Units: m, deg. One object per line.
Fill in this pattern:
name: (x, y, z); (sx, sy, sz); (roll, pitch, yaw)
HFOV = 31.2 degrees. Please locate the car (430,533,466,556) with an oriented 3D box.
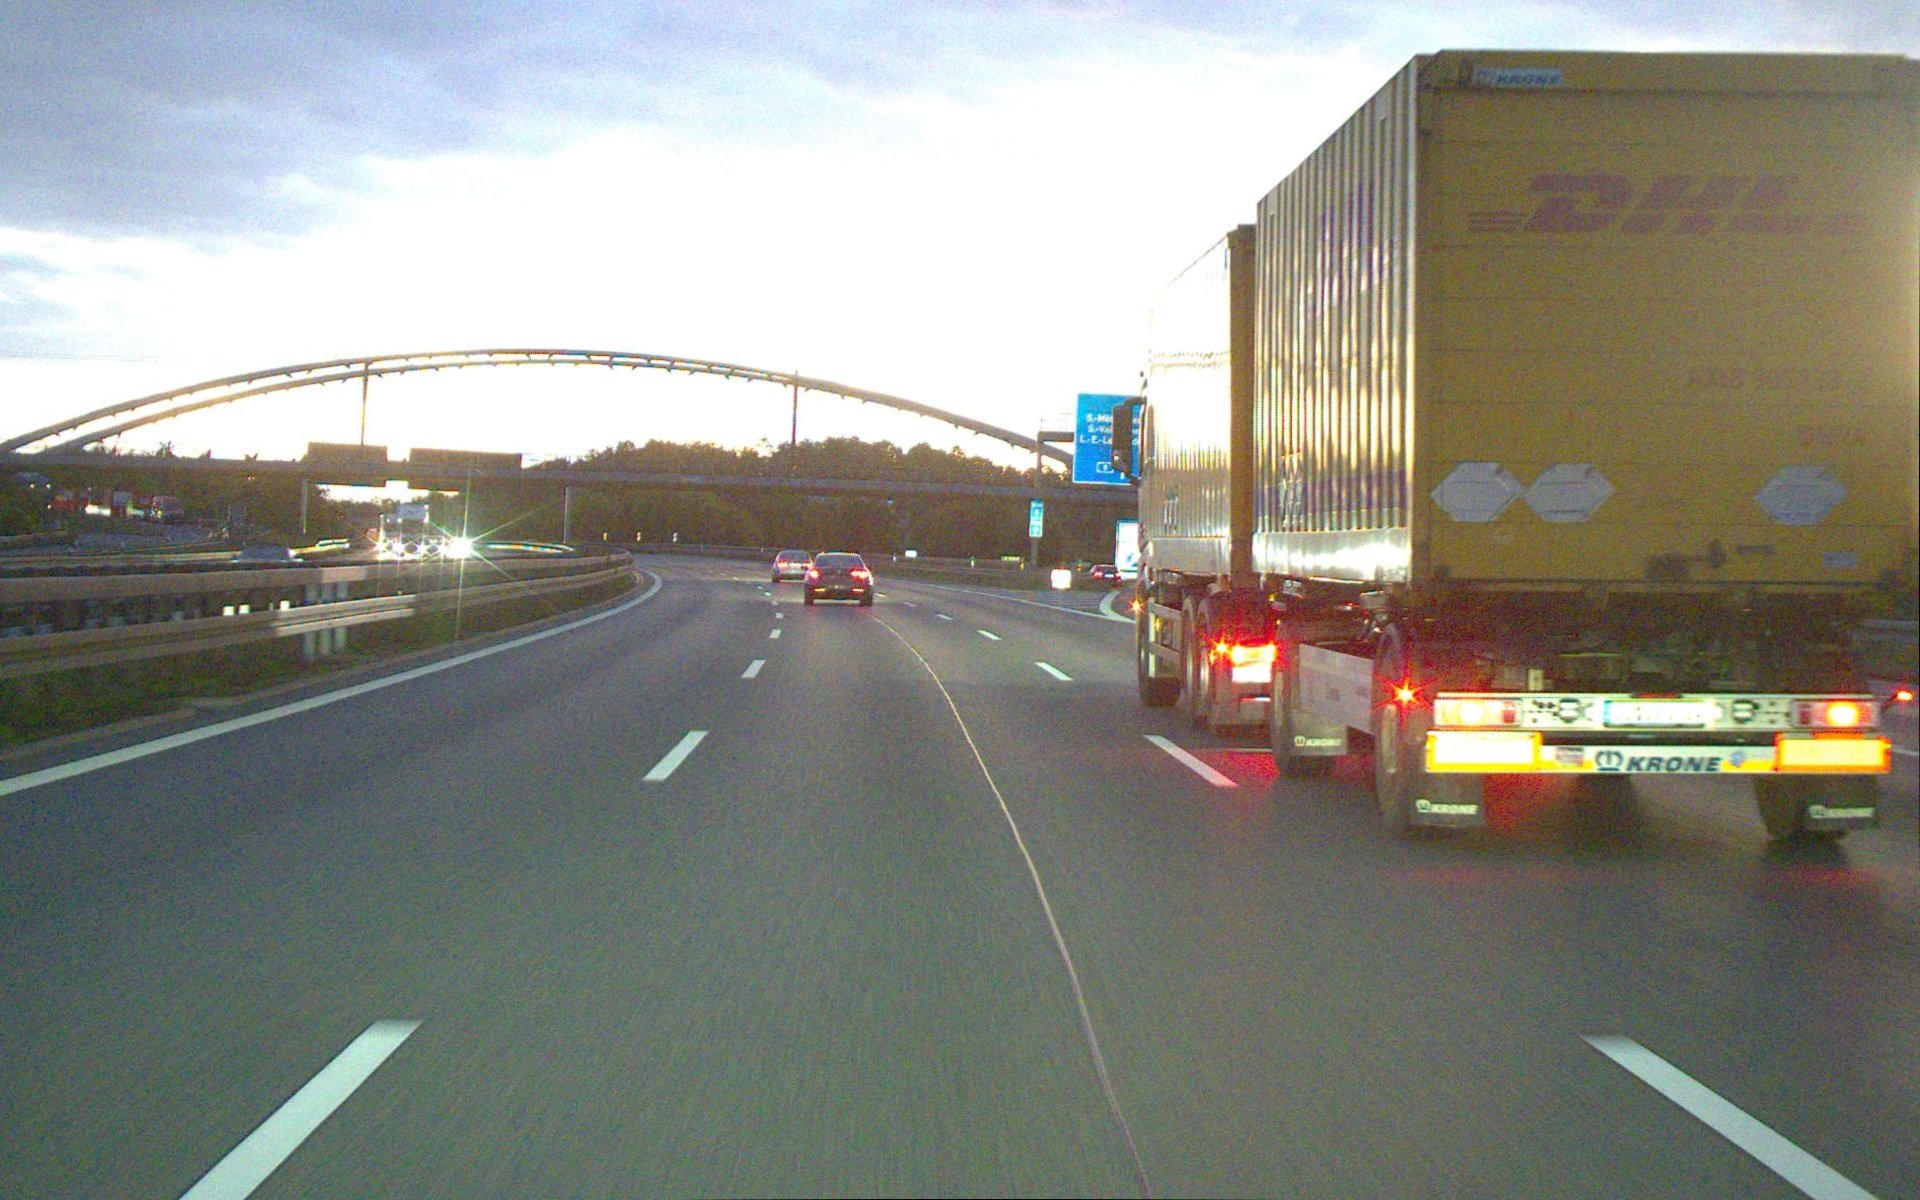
car: (-36.656, -3.985, 246.320); (1.993, 1.619, 4.844); (1, 1, -2)

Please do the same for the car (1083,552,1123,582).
car: (8.806, -2.049, 211.999); (1.993, 1.711, 4.000); (2, -1, -4)

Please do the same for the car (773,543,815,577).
car: (-7.298, -1.752, 151.206); (1.689, 1.397, 3.408); (0, -1, 0)

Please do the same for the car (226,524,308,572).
car: (-21.427, -1.619, 106.467); (1.993, 1.399, 4.799); (1, 1, -5)

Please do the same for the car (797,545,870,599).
car: (-3.505, -0.757, 94.855); (1.689, 1.397, 3.409); (1, 0, -7)

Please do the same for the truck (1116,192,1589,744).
truck: (3.153, -1.076, 30.793); (2.690, 4.057, 10.521); (1, 1, -2)

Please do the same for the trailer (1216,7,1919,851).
trailer: (3.415, -0.902, 21.118); (2.721, 4.057, 8.832); (1, 1, -2)
